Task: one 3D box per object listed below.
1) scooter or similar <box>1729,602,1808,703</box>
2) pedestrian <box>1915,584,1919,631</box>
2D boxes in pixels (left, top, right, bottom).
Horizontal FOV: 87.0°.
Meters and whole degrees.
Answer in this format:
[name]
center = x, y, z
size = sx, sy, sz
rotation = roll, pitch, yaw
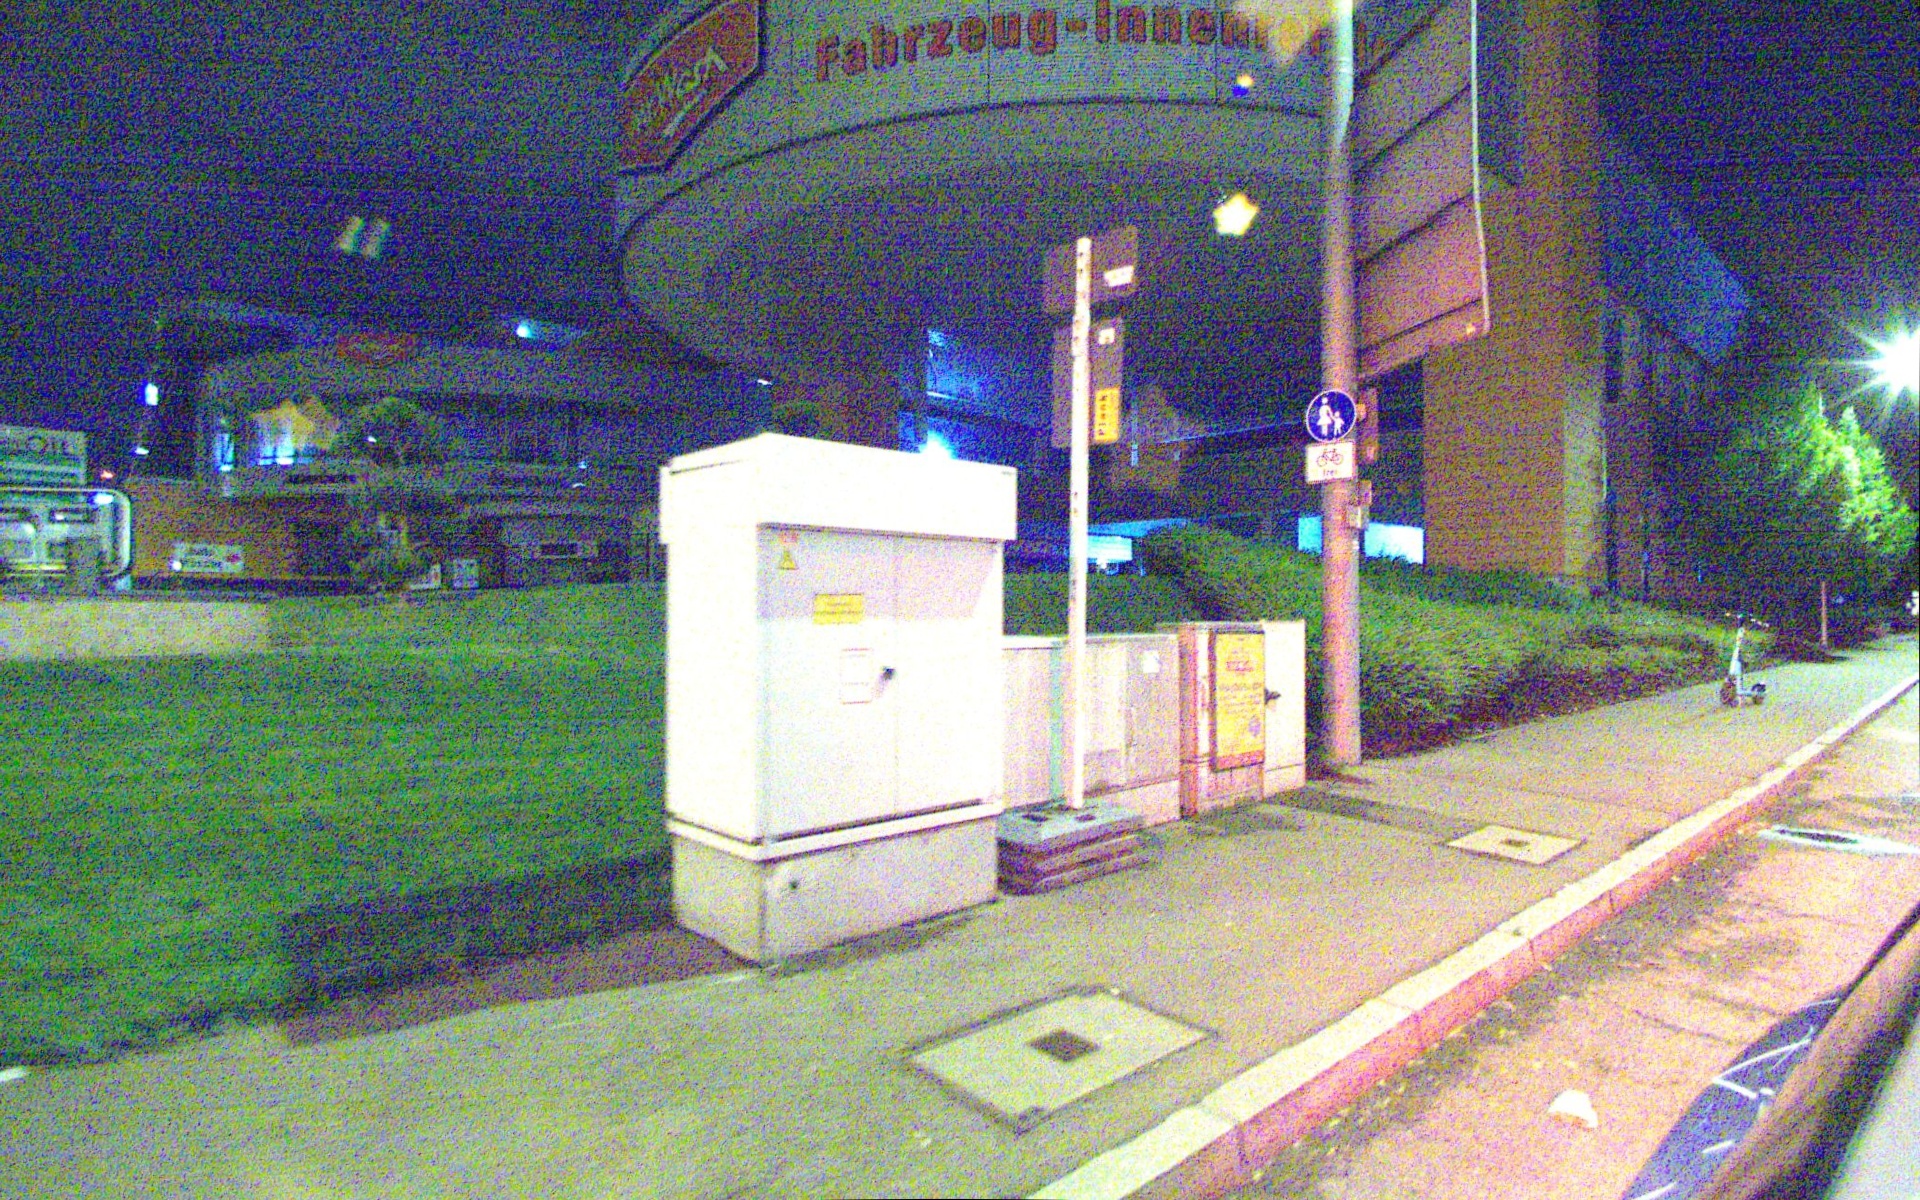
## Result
[scooter or similar]
center = 11.015, 0.686, 13.775
size = 1.367, 1.295, 0.569
rotation = 1, 1, -41
[pedestrian]
center = 38.108, 0.287, 39.735
size = 0.597, 1.842, 0.824
rotation = -1, 0, -40
